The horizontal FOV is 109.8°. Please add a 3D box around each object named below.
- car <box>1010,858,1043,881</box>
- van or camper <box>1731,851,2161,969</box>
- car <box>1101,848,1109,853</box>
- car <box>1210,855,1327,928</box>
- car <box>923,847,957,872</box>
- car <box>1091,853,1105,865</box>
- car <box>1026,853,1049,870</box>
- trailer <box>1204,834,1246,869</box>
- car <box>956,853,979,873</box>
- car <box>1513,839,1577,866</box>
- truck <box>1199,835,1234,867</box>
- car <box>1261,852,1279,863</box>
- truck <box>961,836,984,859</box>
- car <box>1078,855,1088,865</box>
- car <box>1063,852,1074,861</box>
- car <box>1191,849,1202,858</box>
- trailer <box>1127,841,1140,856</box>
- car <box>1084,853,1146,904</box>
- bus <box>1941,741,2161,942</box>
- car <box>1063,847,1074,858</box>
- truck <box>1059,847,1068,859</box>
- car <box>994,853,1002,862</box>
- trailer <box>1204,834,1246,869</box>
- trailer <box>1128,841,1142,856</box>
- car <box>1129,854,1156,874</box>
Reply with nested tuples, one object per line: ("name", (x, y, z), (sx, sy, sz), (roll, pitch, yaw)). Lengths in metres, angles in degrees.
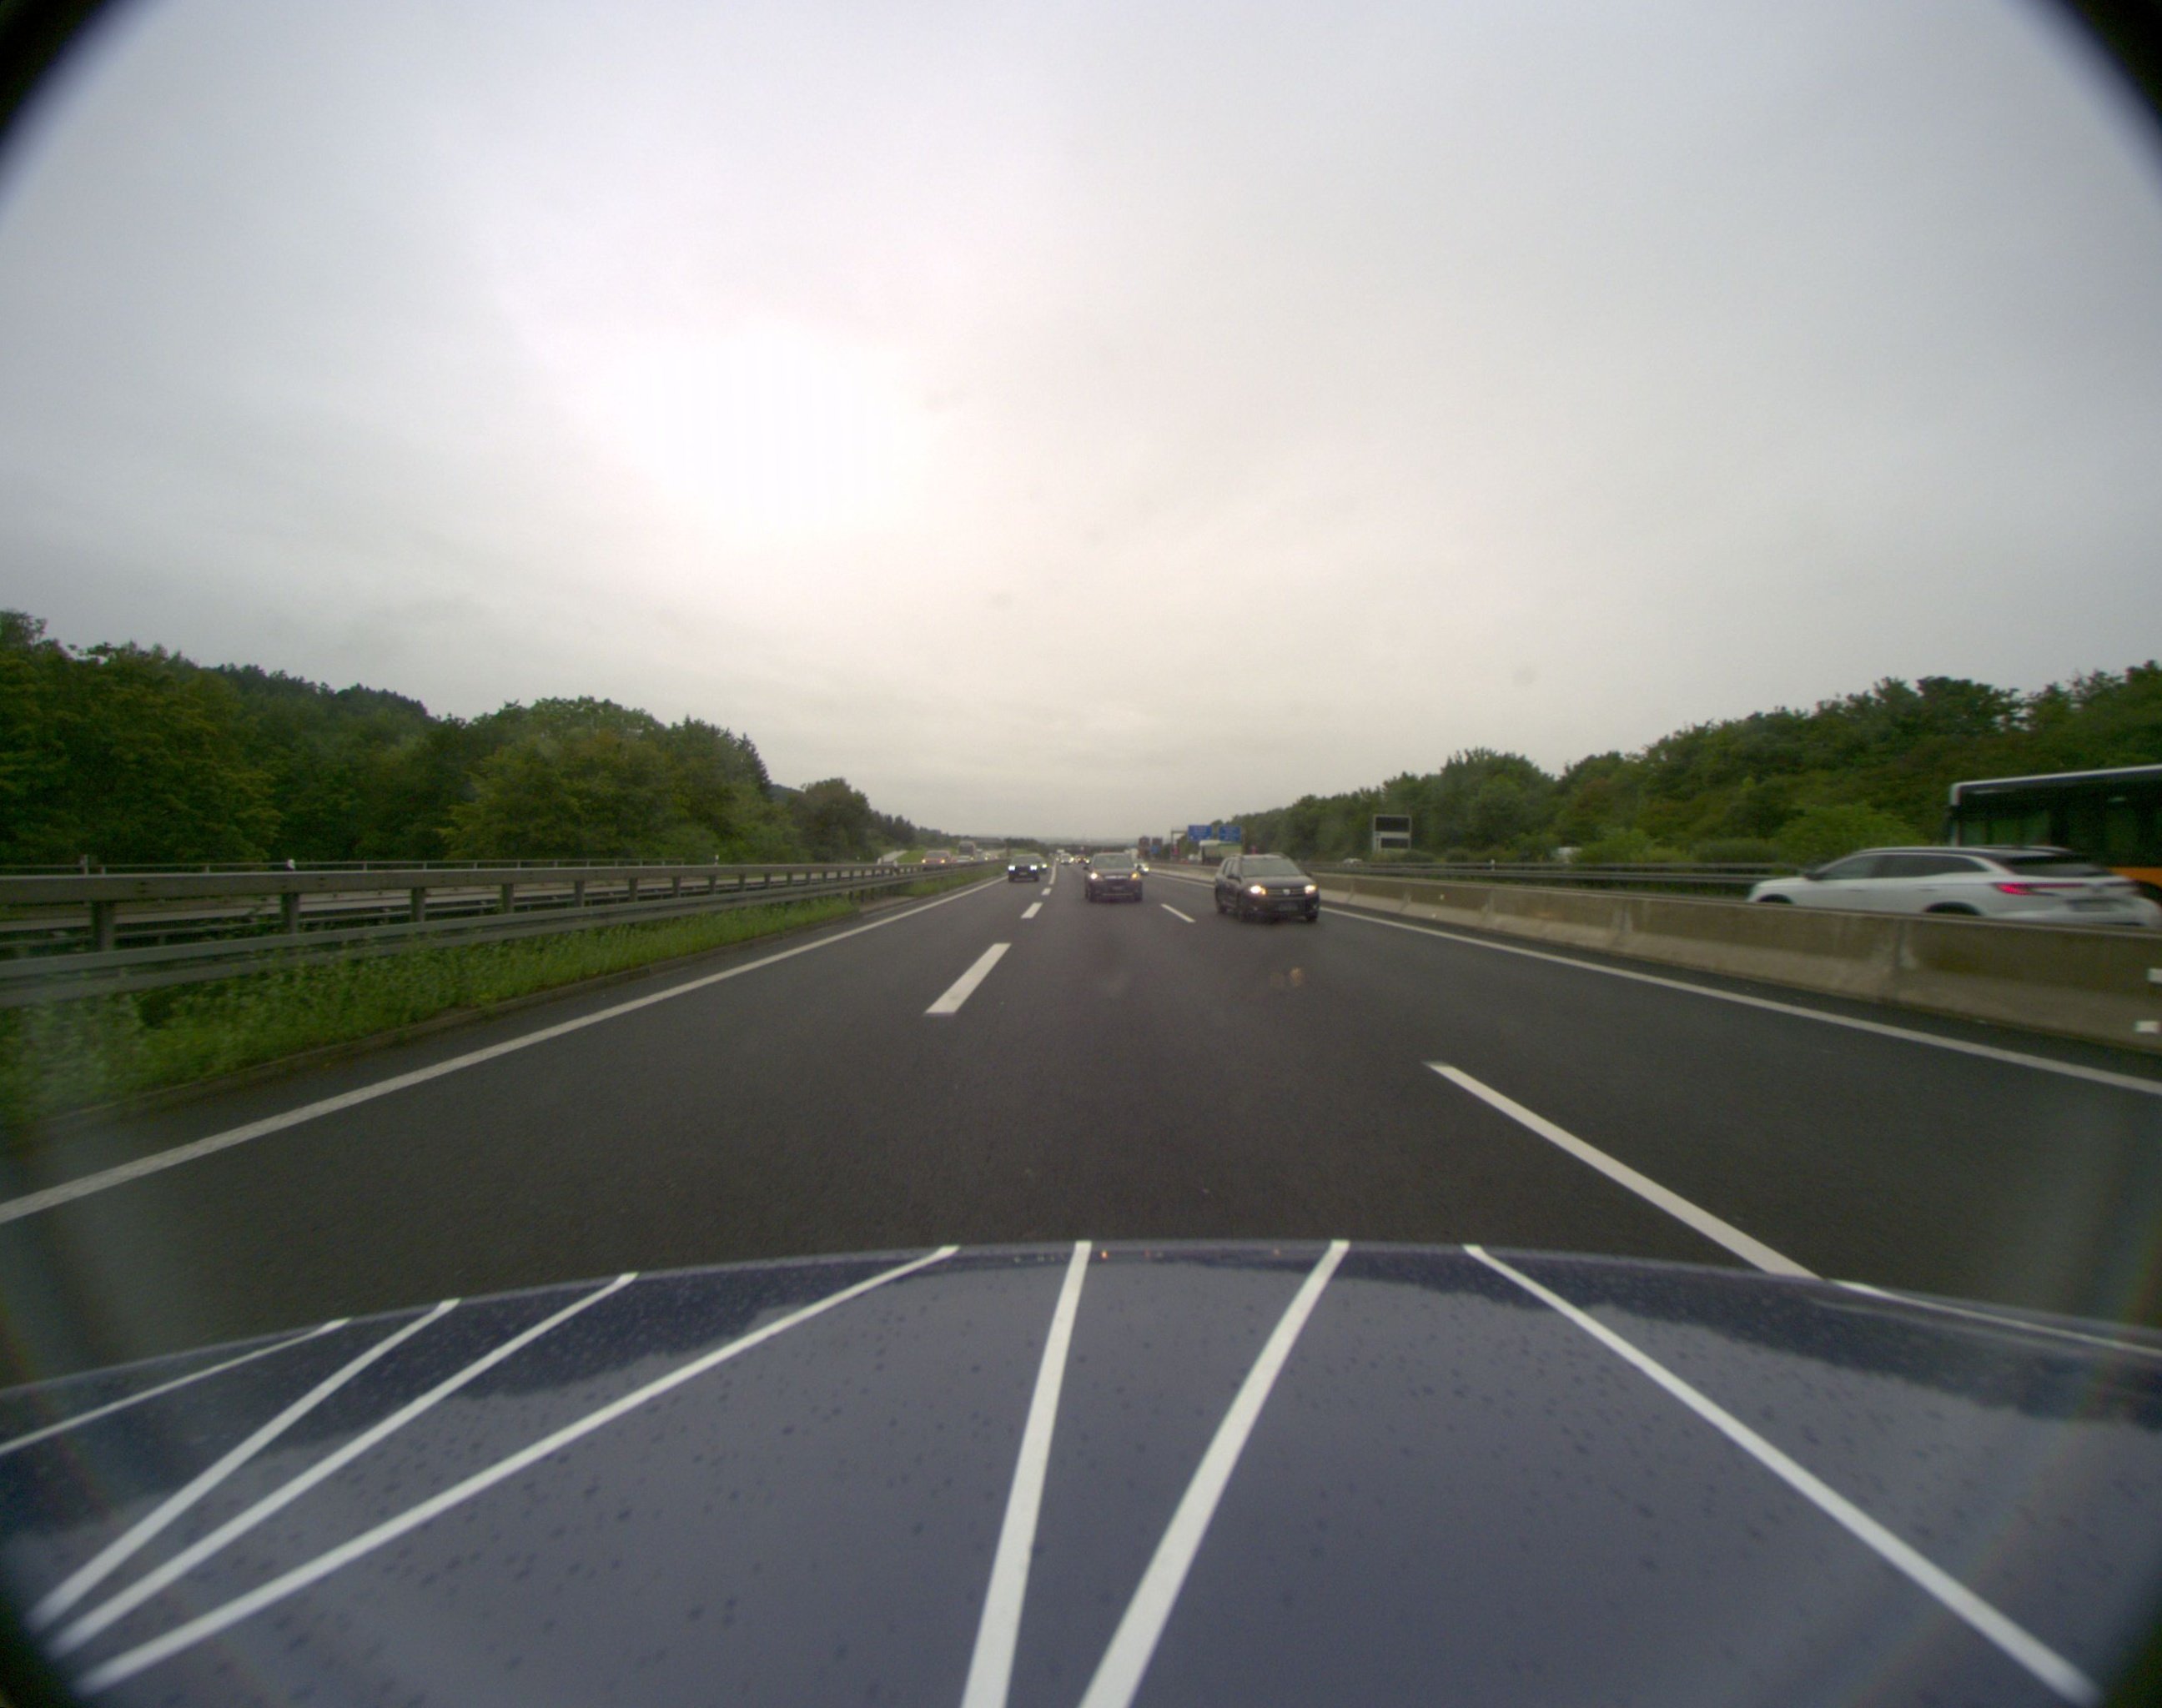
("car", (-3.502, 1.002, 49.840), (1.867, 1.349, 4.566), (-1, 1, 0))
("van or camper", (12.921, 0.696, 11.799), (1.752, 1.439, 4.585), (-1, 1, 0))
("car", (6.486, -0.988, 209.196), (1.813, 1.571, 4.354), (-1, 1, -4))
("car", (4.328, 0.796, 18.247), (1.726, 1.481, 4.567), (-1, 1, 1))
("car", (-11.842, 0.399, 64.136), (2.130, 2.002, 5.075), (-1, 1, -2))
("car", (2.450, 0.732, 111.471), (1.781, 1.669, 4.566), (-1, 1, -1))
("car", (-3.940, 0.680, 69.710), (1.886, 1.519, 3.999), (-1, 1, -1))
("trailer", (16.149, -0.347, 85.783), (2.910, 3.727, 8.925), (-1, 1, -1))
("car", (-12.168, 0.944, 81.653), (1.752, 2.002, 4.497), (-1, 1, -1))
("car", (31.870, -0.125, 52.328), (1.805, 1.776, 4.412), (0, 0, 1))
("truck", (16.033, -0.388, 90.314), (2.894, 3.727, 5.943), (-1, 1, -1))
("car", (29.960, 0.538, 120.246), (1.805, 1.776, 4.412), (0, 0, 1))
("truck", (-19.256, -1.213, 135.280), (2.799, 3.878, 10.025), (-1, 1, -1))
("car", (0.494, 1.261, 171.200), (2.100, 2.148, 4.406), (-1, 1, -1))
("car", (-2.343, 0.445, 141.695), (1.920, 1.481, 4.565), (-1, 1, -3))
("car", (28.400, -0.151, 187.085), (1.879, 2.002, 5.297), (-1, 1, -1))
("trailer", (13.247, -1.378, 191.973), (2.643, 3.694, 6.490), (-1, 1, 0))
("car", (1.095, 0.774, 26.217), (1.813, 1.571, 3.833), (-1, 1, -2))
("bus", (17.178, -0.166, 8.050), (2.705, 2.941, 11.896), (0, 1, 0))
("car", (-2.514, -0.329, 147.995), (2.016, 1.994, 4.565), (-1, 1, -3))
("truck", (-5.949, -0.385, 262.333), (2.799, 3.878, 10.026), (-1, 1, 0))
("car", (-20.325, 0.791, 185.730), (1.753, 2.002, 4.495), (-1, 1, -7))
("trailer", (16.149, -0.347, 85.783), (2.910, 3.727, 8.925), (-1, 1, -1))
("trailer", (13.248, -1.331, 186.839), (2.643, 3.715, 10.809), (-1, 1, 0))
("car", (4.922, 0.787, 61.275), (1.726, 1.481, 4.566), (-1, 1, -2))
